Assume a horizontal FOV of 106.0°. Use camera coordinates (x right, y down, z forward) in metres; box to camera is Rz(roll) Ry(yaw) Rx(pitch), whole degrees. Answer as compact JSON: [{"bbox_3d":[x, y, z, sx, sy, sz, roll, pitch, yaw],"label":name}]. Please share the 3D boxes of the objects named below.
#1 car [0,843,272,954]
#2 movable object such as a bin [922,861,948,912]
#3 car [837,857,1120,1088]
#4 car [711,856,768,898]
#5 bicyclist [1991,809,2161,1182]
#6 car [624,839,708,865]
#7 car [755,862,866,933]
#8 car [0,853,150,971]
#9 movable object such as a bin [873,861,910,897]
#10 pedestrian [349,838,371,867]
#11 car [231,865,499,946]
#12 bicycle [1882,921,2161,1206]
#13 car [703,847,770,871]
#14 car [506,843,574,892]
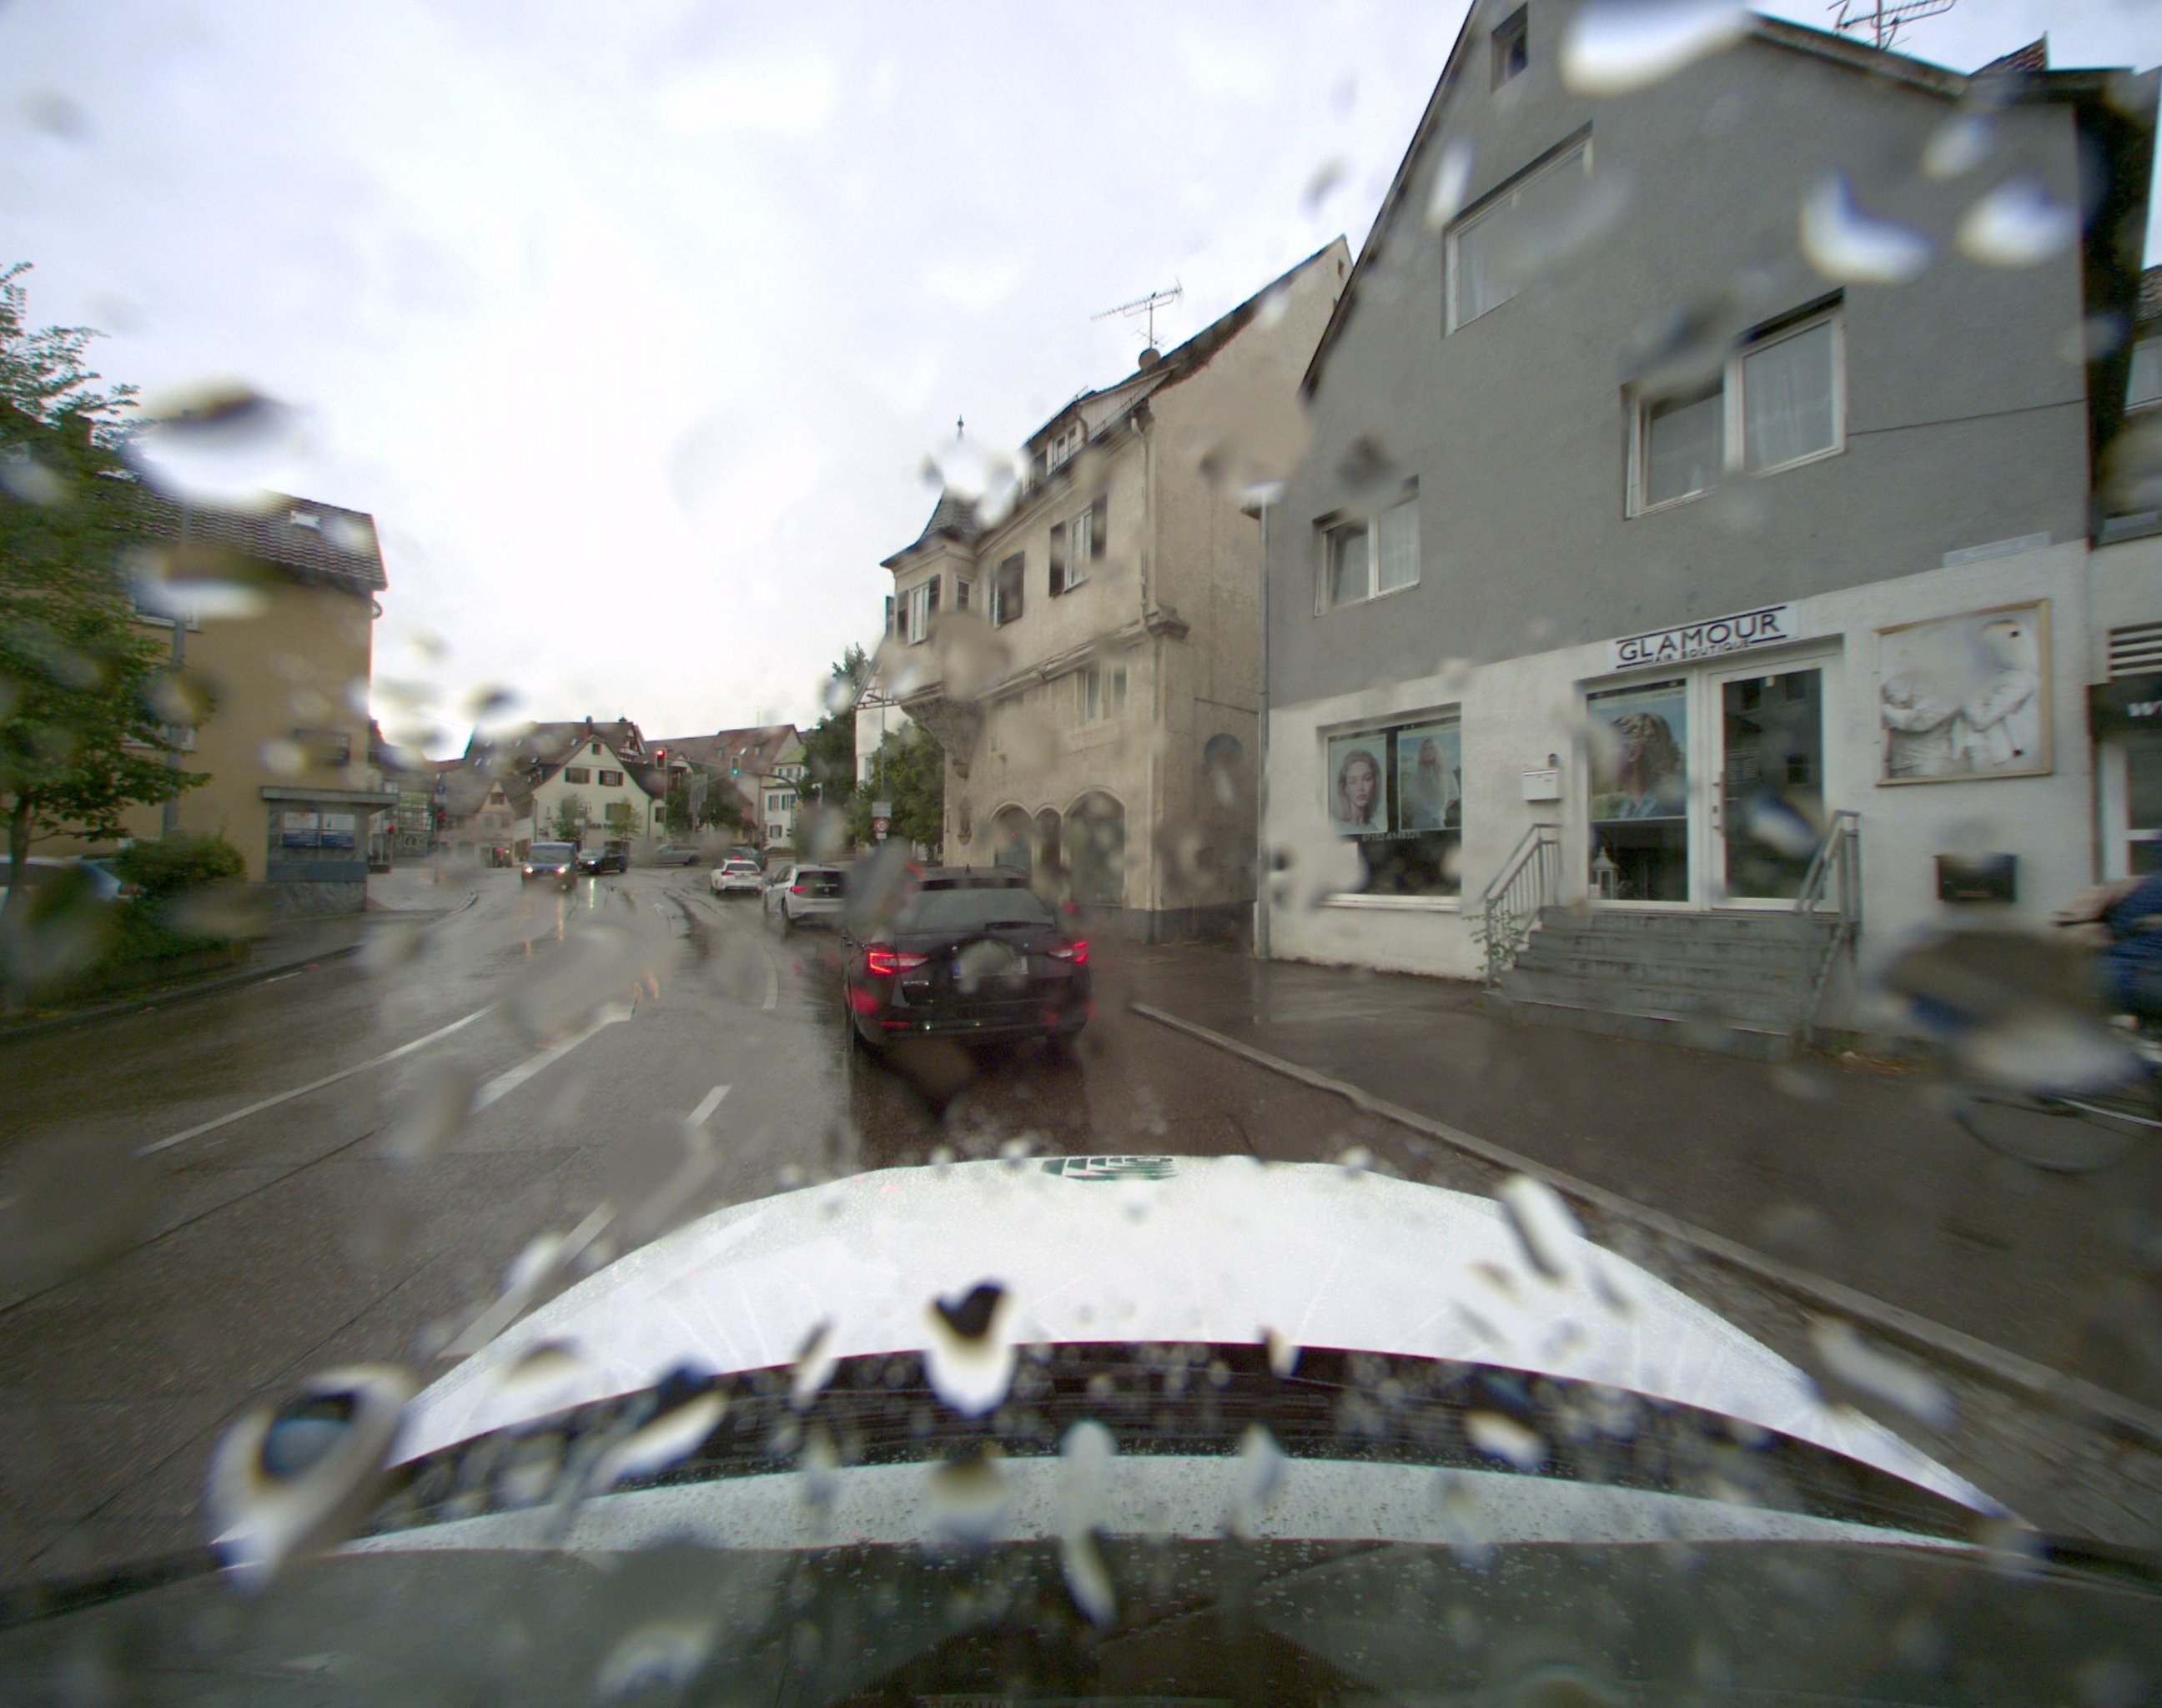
[{"bbox_3d":[-20.743,0.886,17.213,1.938,1.824,4.966,2,6,42],"label":"car"},{"bbox_3d":[-4.299,0.944,23.930,0.636,1.441,0.416,3,3,37],"label":"movable object such as a bin"},{"bbox_3d":[-1.227,0.767,7.531,1.891,1.448,4.333,1,0,-16],"label":"car"},{"bbox_3d":[-14.270,0.916,33.887,1.895,1.596,4.288,1,0,-27],"label":"car"},{"bbox_3d":[4.690,0.576,3.492,0.689,1.518,1.018,1,0,-44],"label":"bicyclist"},{"bbox_3d":[-27.228,-0.113,53.548,4.504,1.591,1.975,2,-2,-44],"label":"car"},{"bbox_3d":[-7.034,1.025,20.934,1.869,1.472,3.961,-2,2,-31],"label":"car"},{"bbox_3d":[-16.033,0.800,11.423,1.974,1.629,3.668,0,-1,34],"label":"car"},{"bbox_3d":[-7.236,0.935,31.053,1.159,1.313,1.177,1,-1,-23],"label":"movable object such as a bin"},{"bbox_3d":[-47.118,-0.096,53.240,0.705,1.830,0.804,1,3,30],"label":"pedestrian"},{"bbox_3d":[-14.964,0.980,17.192,1.876,1.453,4.025,1,0,41],"label":"car"},{"bbox_3d":[4.753,0.892,3.334,0.768,1.035,2.056,1,0,-43],"label":"bicycle"},{"bbox_3d":[-19.683,0.248,46.713,1.986,1.302,4.001,1,0,1],"label":"car"},{"bbox_3d":[-22.496,0.522,33.799,2.010,1.882,4.328,1,0,-38],"label":"car"}]
